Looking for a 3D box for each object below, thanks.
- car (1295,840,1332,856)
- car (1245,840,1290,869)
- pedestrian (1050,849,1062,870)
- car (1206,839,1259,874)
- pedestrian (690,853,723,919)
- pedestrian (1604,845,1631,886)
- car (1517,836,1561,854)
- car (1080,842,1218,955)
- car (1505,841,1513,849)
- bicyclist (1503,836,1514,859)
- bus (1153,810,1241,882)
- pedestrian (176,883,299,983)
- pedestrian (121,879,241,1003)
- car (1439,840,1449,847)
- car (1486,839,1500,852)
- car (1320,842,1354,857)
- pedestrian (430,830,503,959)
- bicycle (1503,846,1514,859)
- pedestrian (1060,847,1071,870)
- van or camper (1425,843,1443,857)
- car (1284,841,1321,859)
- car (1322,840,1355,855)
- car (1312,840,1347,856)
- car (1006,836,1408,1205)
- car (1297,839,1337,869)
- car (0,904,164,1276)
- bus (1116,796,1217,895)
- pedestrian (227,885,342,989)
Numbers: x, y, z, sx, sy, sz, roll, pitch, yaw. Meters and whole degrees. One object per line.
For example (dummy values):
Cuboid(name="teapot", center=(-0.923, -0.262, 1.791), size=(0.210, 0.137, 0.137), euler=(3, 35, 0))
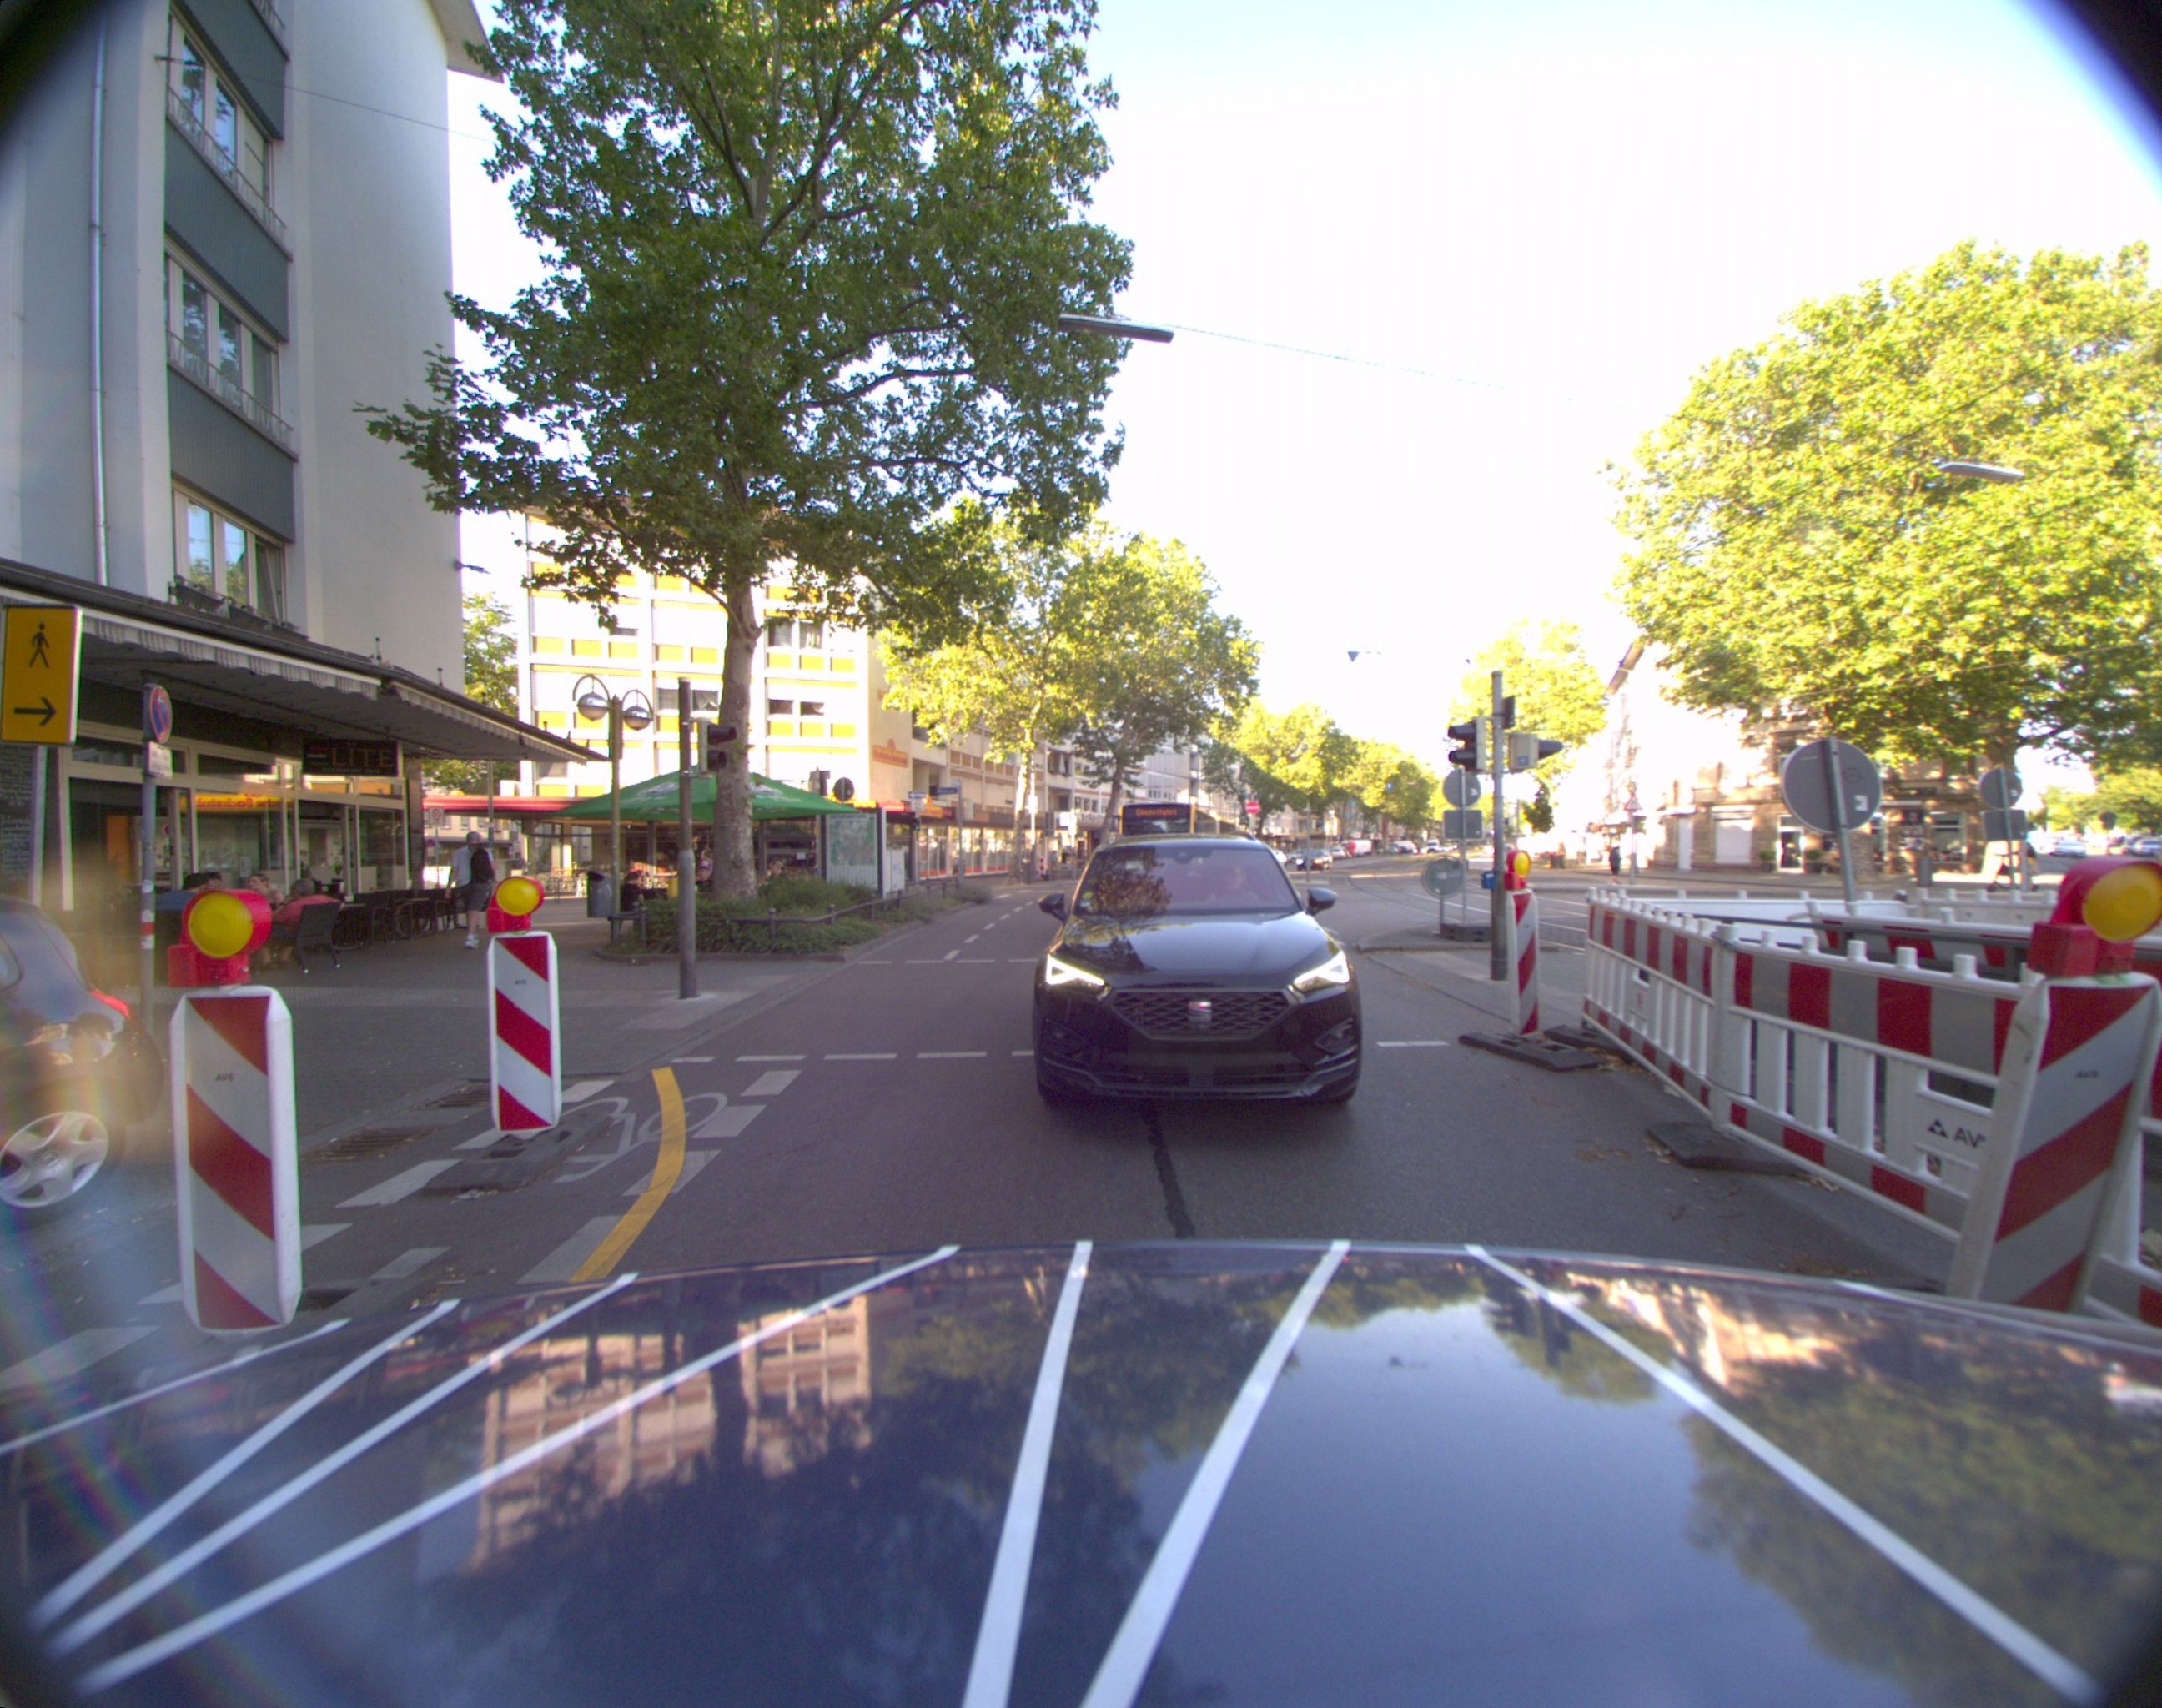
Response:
Cuboid(name="car", center=(28.388, -0.733, 92.862), size=(3.994, 2.002, 2.001), euler=(-1, 1, 8))
Cuboid(name="car", center=(13.582, -0.005, 55.185), size=(1.994, 2.002, 4.008), euler=(0, 1, 33))
Cuboid(name="pedestrian", center=(-1.711, 0.357, 51.735), size=(0.627, 1.429, 0.532), euler=(0, 1, 20))
Cuboid(name="car", center=(9.260, 0.127, 46.131), size=(1.995, 2.002, 4.105), euler=(0, 1, 29))
Cuboid(name="pedestrian", center=(-9.436, 0.794, 19.169), size=(0.629, 1.628, 0.531), euler=(-1, 1, -15))
Cuboid(name="pedestrian", center=(20.320, 0.421, 28.799), size=(0.603, 1.524, 0.745), euler=(0, 1, 12))
Cuboid(name="car", center=(52.442, -0.987, 87.014), size=(4.001, 2.002, 1.997), euler=(-1, 1, -13))
Cuboid(name="car", center=(1.023, 0.632, 13.111), size=(1.998, 1.634, 4.075), euler=(-1, 1, 1))
Cuboid(name="car", center=(97.558, -2.023, 173.252), size=(1.686, 1.841, 4.007), euler=(0, 1, 29))
Cuboid(name="bicyclist", center=(38.404, -0.585, 68.207), size=(0.853, 2.002, 0.985), euler=(0, 1, 28))
Cuboid(name="bus", center=(5.860, -0.397, 36.878), size=(2.717, 3.088, 8.608), euler=(0, 1, 19))
Cuboid(name="pedestrian", center=(-10.739, 0.979, 9.697), size=(0.647, 1.186, 0.792), euler=(0, 1, 7))
Cuboid(name="pedestrian", center=(-10.188, 0.947, 8.612), size=(0.789, 1.299, 0.701), euler=(0, 1, 28))
Cuboid(name="car", center=(78.109, -2.211, 163.423), size=(1.700, 1.462, 3.771), euler=(0, 1, 31))
Cuboid(name="car", center=(67.274, -1.428, 124.026), size=(1.994, 2.002, 4.007), euler=(0, 1, 29))
Cuboid(name="car", center=(34.887, -0.603, 103.646), size=(3.994, 2.002, 2.001), euler=(-1, 1, 8))
Cuboid(name="pedestrian", center=(-9.728, 0.611, 12.063), size=(0.649, 1.948, 0.888), euler=(-1, 1, -23))
Cuboid(name="bicycle", center=(38.409, -0.139, 68.297), size=(0.850, 1.186, 2.470), euler=(0, 1, 28))
Cuboid(name="pedestrian", center=(-1.059, 0.294, 51.530), size=(0.627, 1.577, 0.532), euler=(0, 1, 20))
Cuboid(name="van or camper", center=(67.611, -0.792, 145.525), size=(2.420, 2.702, 6.144), euler=(0, 1, 32))
Cuboid(name="car", center=(24.836, -0.458, 85.140), size=(3.991, 2.002, 2.003), euler=(0, 1, 18))
Cuboid(name="car", center=(36.492, -0.891, 107.741), size=(3.994, 2.002, 2.001), euler=(-1, 1, 8))
Cuboid(name="car", center=(32.295, -0.724, 98.726), size=(3.994, 2.002, 2.001), euler=(-1, 1, 8))
Cuboid(name="car", center=(0.613, 0.754, 5.504), size=(1.841, 1.696, 4.000), euler=(-1, 1, 1))
Cuboid(name="car", center=(16.584, -0.033, 53.373), size=(1.995, 2.002, 4.007), euler=(0, 1, 27))
Cuboid(name="car", center=(-5.242, 0.977, 1.813), size=(1.771, 1.459, 3.610), euler=(2, 1, -2))
Cuboid(name="bus", center=(3.451, -0.305, 28.327), size=(2.718, 3.088, 8.629), euler=(0, 1, 13))
Cuboid(name="pedestrian", center=(-9.890, 1.003, 9.450), size=(0.877, 1.186, 0.701), euler=(0, 1, 24))
